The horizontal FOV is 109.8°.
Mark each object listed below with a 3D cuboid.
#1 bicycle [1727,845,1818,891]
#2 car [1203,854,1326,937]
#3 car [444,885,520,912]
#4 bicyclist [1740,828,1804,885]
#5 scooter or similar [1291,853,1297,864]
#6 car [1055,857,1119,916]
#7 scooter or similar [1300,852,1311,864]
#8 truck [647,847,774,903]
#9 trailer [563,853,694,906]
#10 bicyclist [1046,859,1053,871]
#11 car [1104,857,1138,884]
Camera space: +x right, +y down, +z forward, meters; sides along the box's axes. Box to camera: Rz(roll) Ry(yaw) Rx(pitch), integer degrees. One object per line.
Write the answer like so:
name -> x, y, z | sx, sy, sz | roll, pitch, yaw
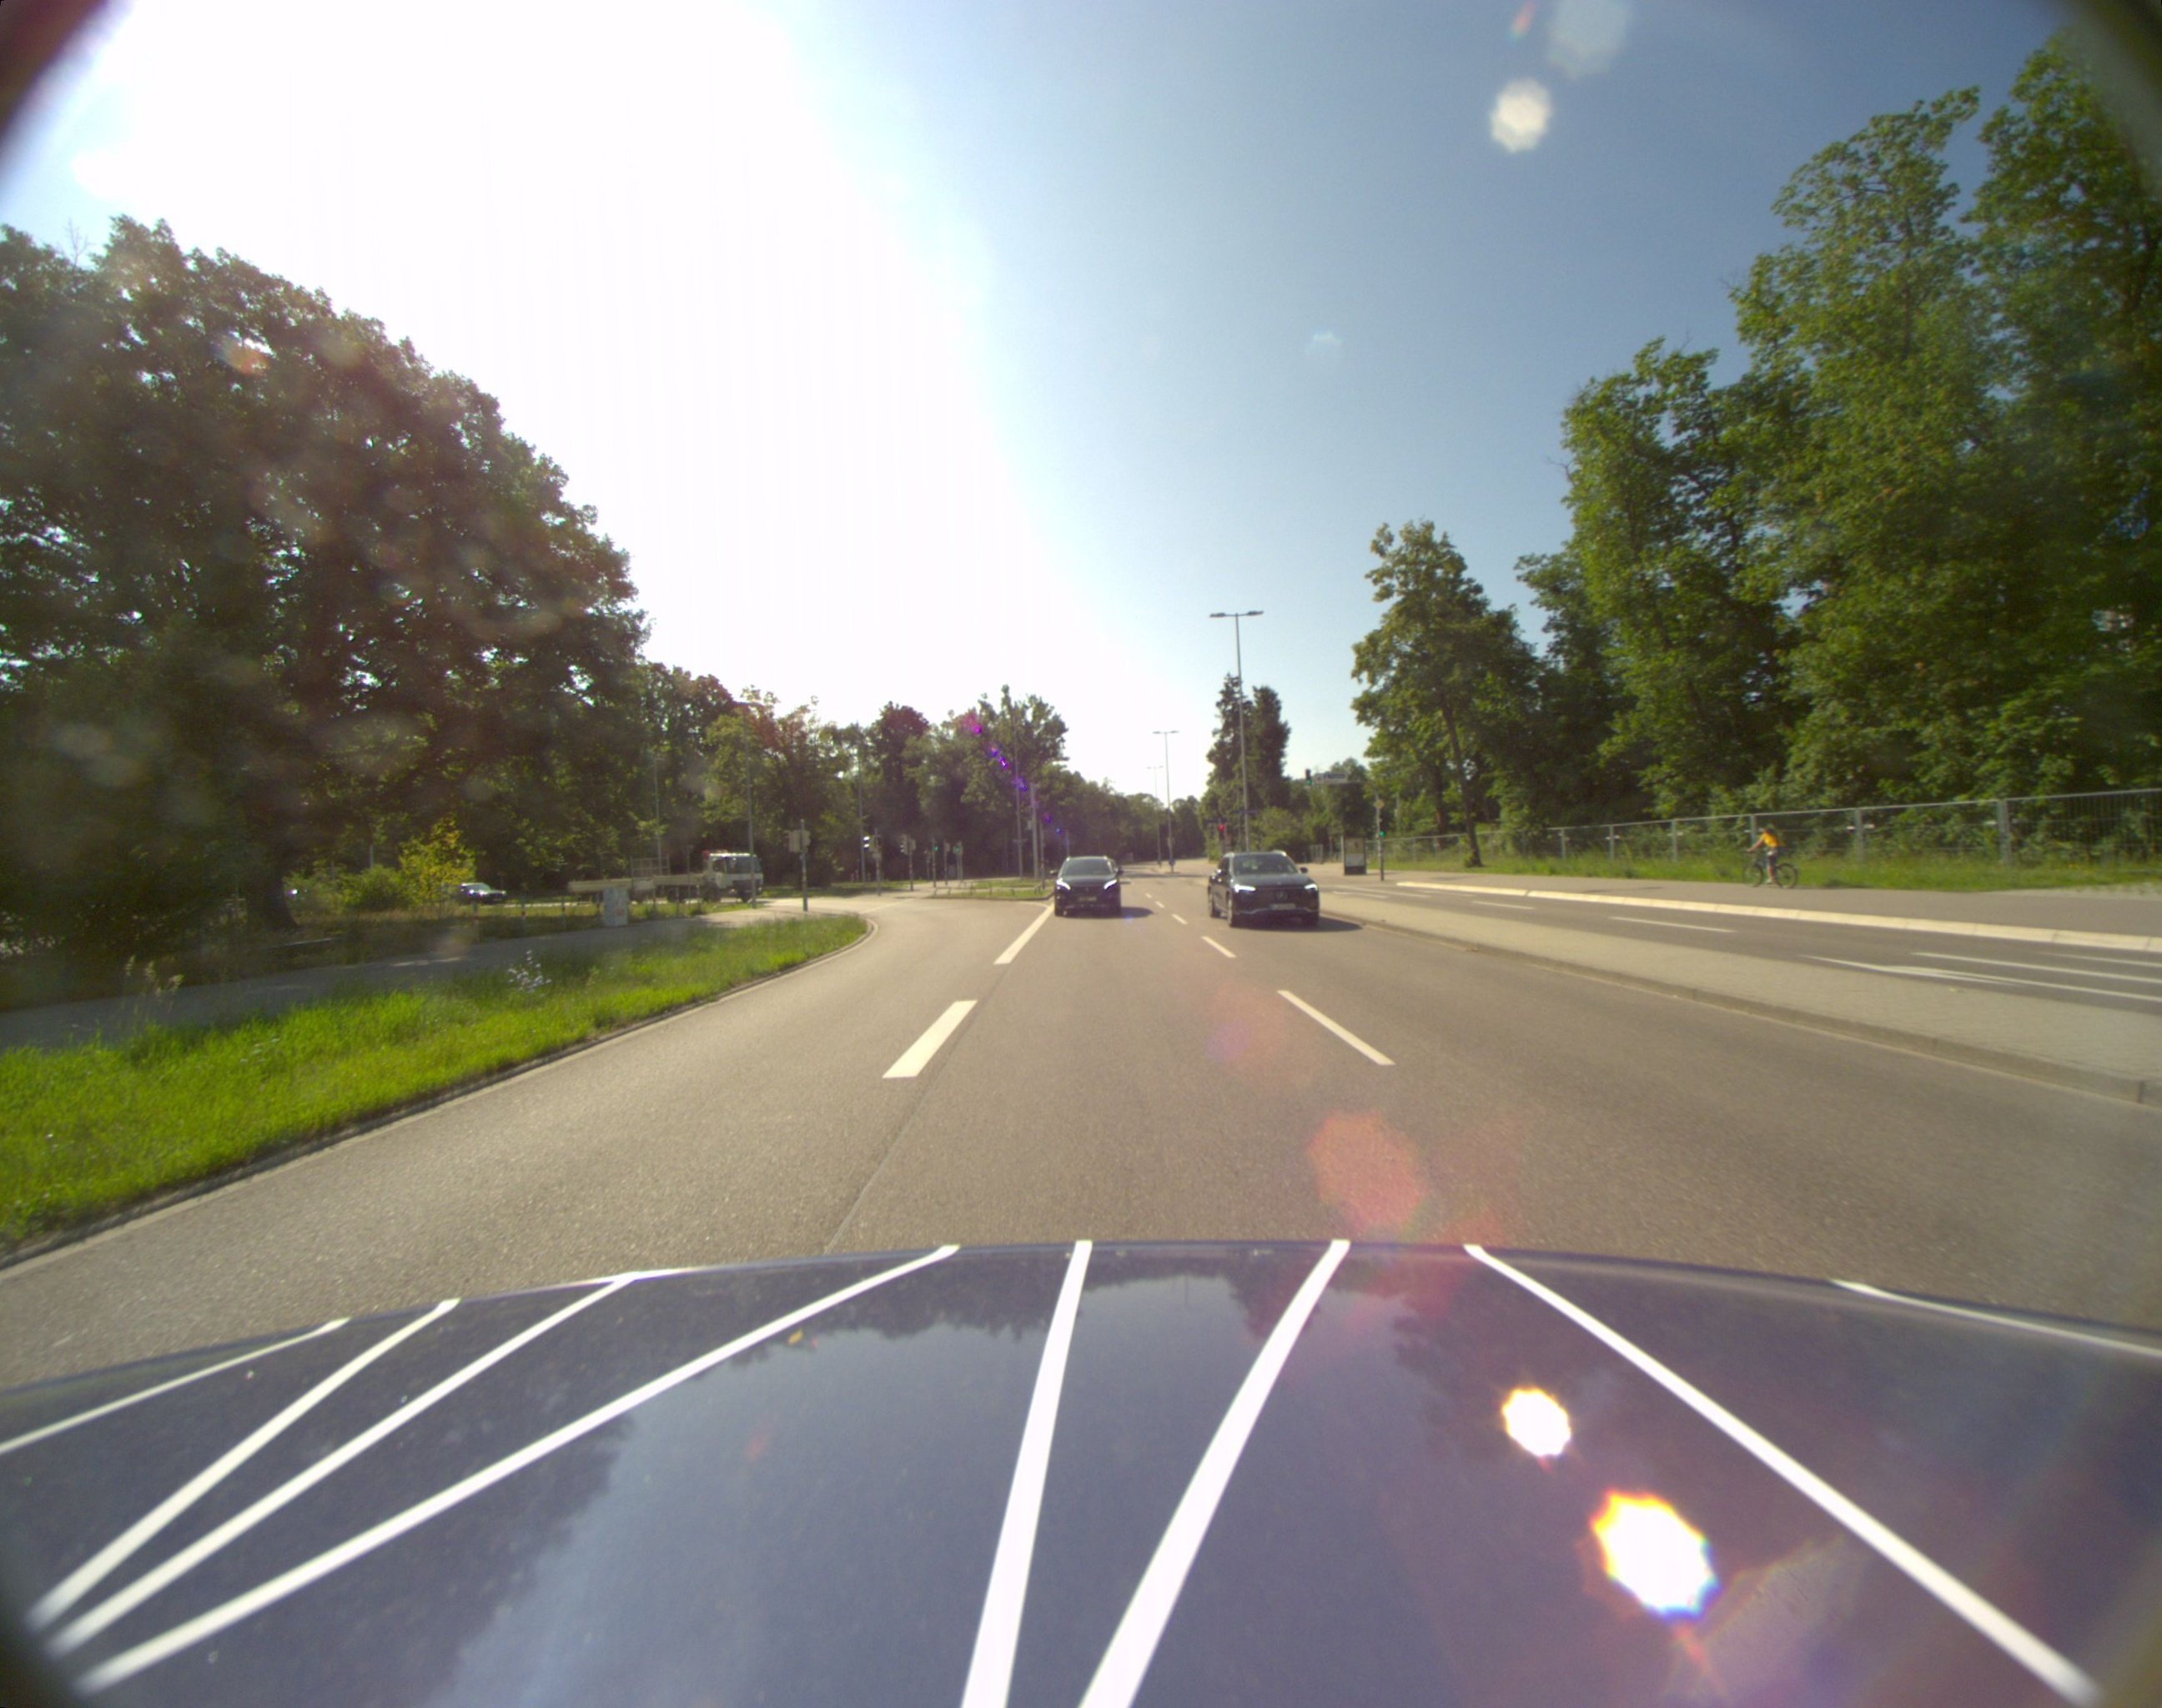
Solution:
bicycle -> 18.590, 0.359, 20.488 | 0.661, 1.129, 1.878 | -4, 0, 0
car -> 3.978, 0.822, 17.183 | 1.809, 1.587, 4.273 | -2, 0, 1
car -> -37.484, 2.772, 47.574 | 3.991, 1.475, 1.849 | -2, 0, 19
bicyclist -> 18.551, 0.077, 20.412 | 0.661, 1.459, 1.057 | -4, 0, 0
scooter or similar -> 23.025, 0.450, 82.085 | 0.395, 1.139, 1.197 | -3, 0, 8
car -> 0.276, 0.930, 23.462 | 1.702, 1.581, 4.320 | -3, 0, 3
scooter or similar -> 24.210, 0.412, 81.956 | 1.082, 1.215, 0.395 | -3, 0, -21
truck -> -19.951, 1.145, 40.930 | 6.189, 2.702, 2.684 | -3, 0, 24
trailer -> -25.871, 1.450, 43.439 | 6.873, 2.672, 2.707 | -3, 0, 21
bicyclist -> -4.353, 1.510, 105.352 | 0.725, 1.629, 1.058 | -2, 0, 7
car -> 2.396, 0.993, 46.273 | 1.933, 1.499, 4.000 | -2, 0, 1
